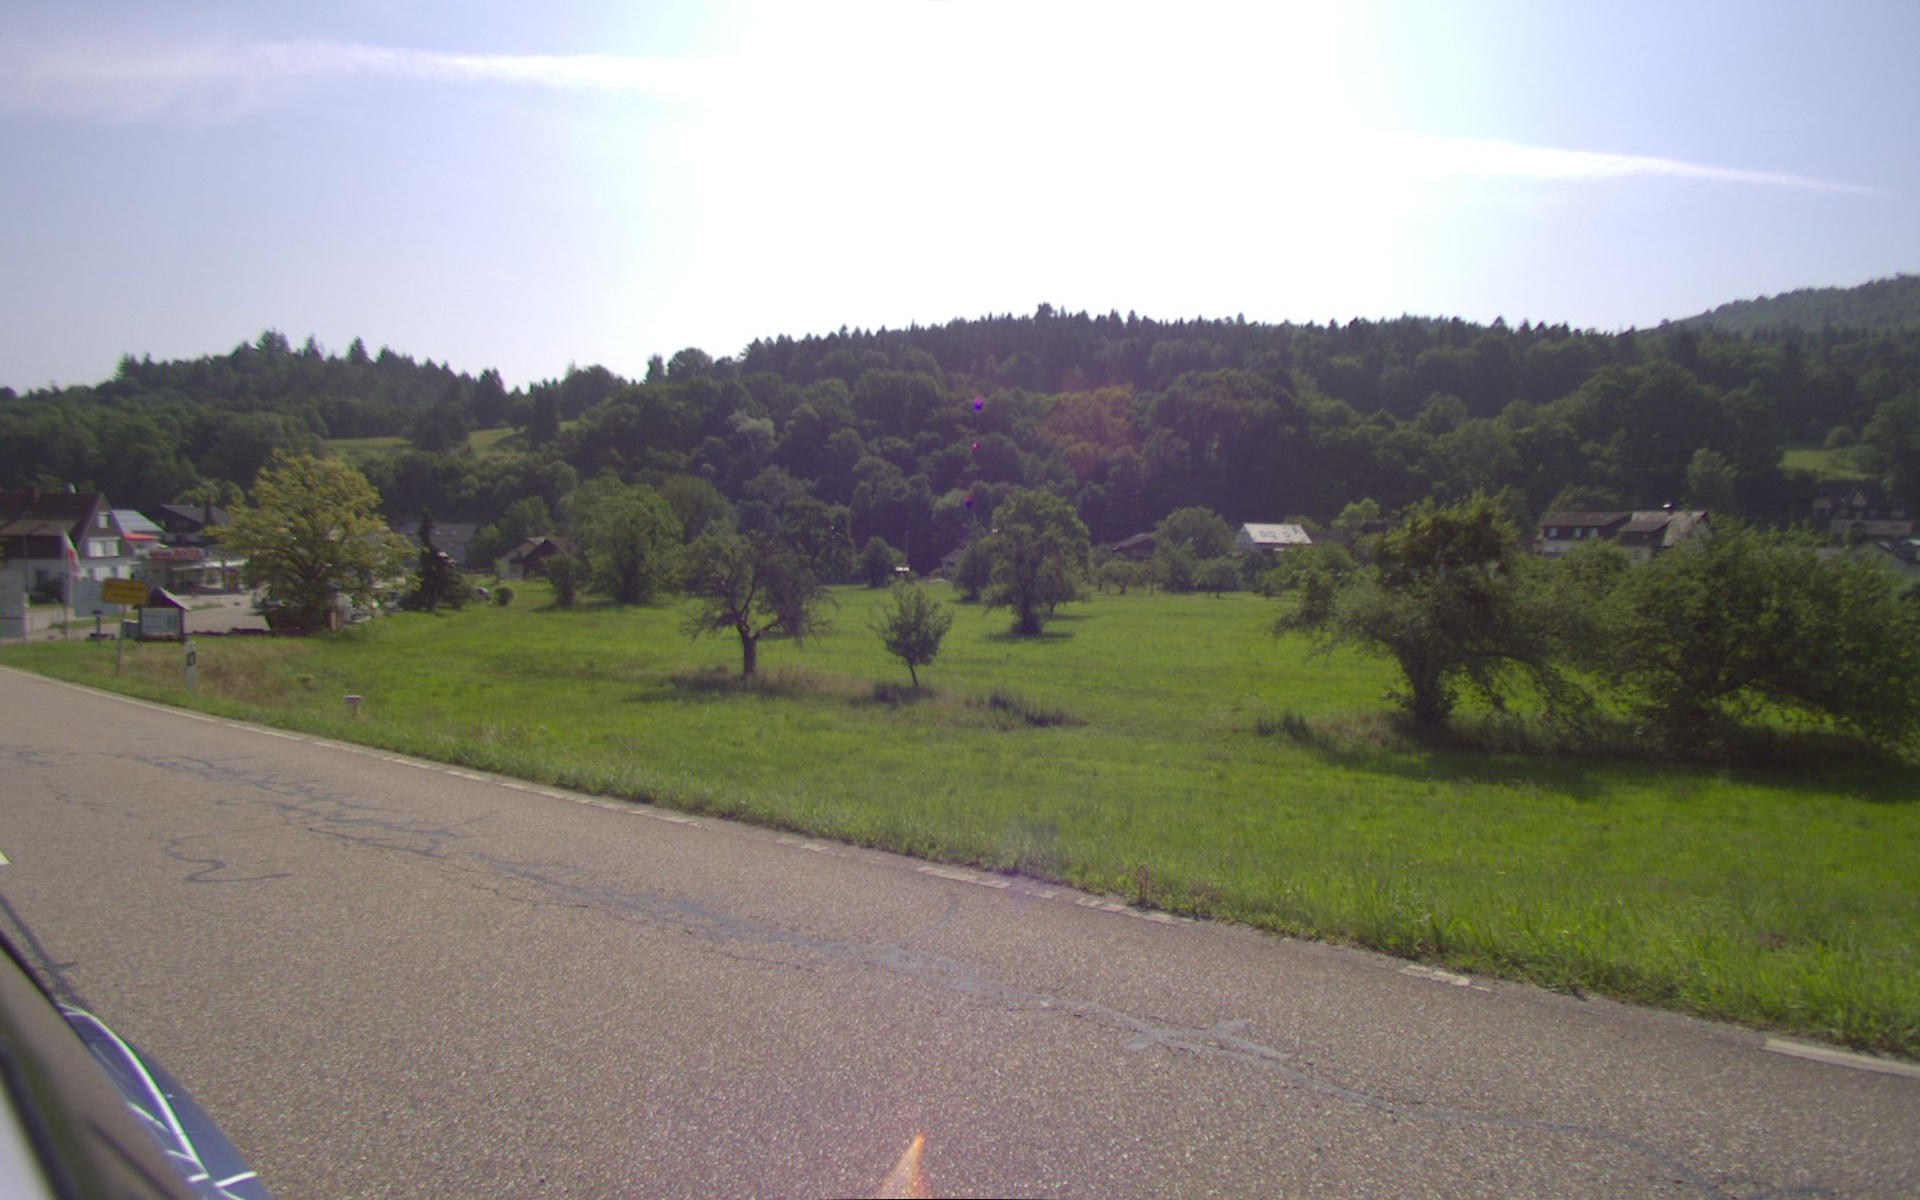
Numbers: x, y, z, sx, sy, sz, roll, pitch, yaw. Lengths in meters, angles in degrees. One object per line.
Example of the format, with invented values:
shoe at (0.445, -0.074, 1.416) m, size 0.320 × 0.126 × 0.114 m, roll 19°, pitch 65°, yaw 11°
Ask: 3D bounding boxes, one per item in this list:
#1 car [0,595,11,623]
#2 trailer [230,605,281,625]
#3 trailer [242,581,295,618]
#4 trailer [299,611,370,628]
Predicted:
car at (-65.718, 0.714, 67.752) m, size 1.738 × 1.758 × 3.994 m, roll -1°, pitch 4°, yaw -21°
trailer at (-55.298, 1.169, 79.546) m, size 1.965 × 1.235 × 5.565 m, roll -1°, pitch 3°, yaw -20°
trailer at (-57.940, -0.061, 84.852) m, size 3.343 × 2.933 × 1.890 m, roll -1°, pitch 2°, yaw -23°
trailer at (-43.804, 1.357, 70.932) m, size 3.878 × 0.946 × 1.874 m, roll -1°, pitch 4°, yaw -18°
